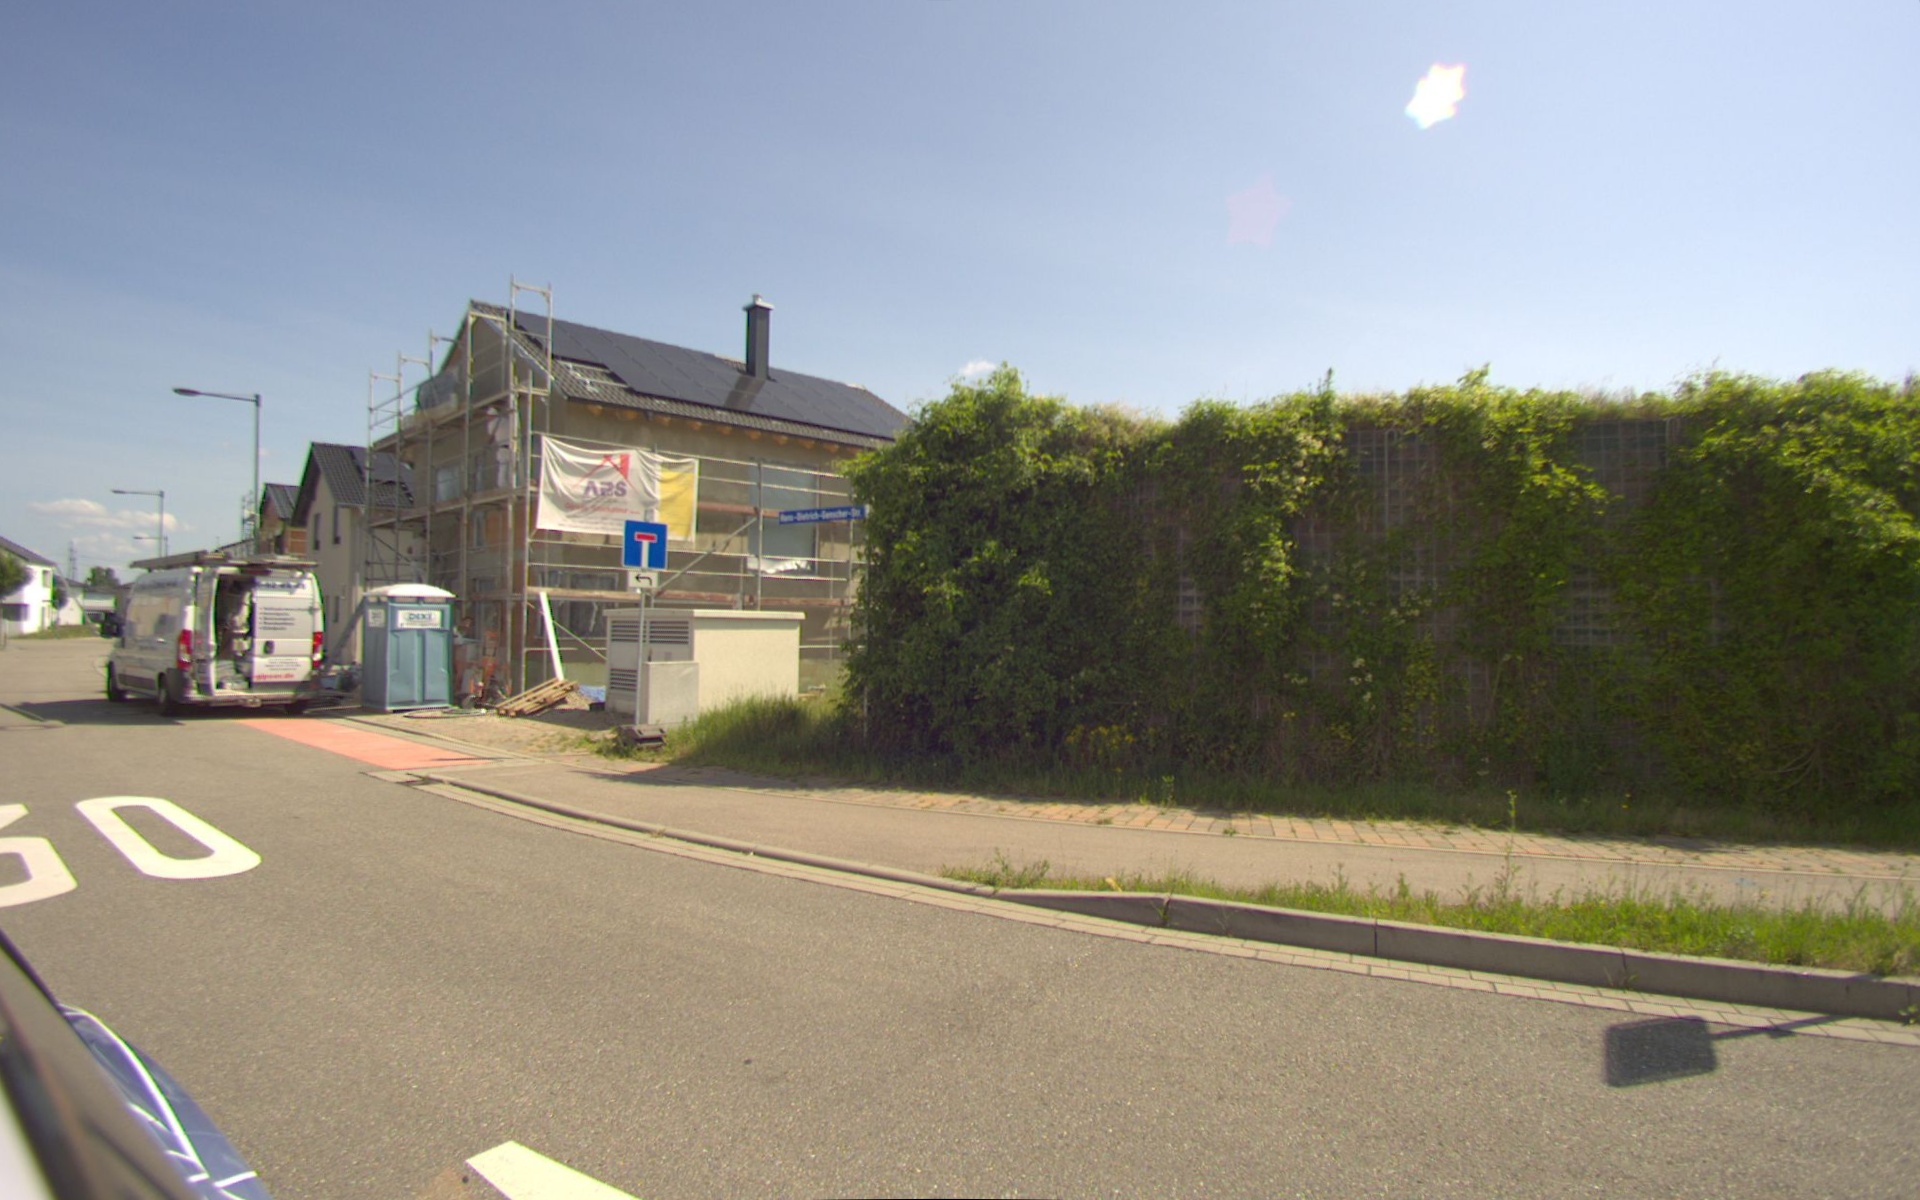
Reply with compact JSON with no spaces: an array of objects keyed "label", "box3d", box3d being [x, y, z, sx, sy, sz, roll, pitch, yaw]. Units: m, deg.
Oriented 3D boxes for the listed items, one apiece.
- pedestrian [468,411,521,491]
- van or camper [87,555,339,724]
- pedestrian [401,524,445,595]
[{"label":"pedestrian","box3d":[-9.318,-2.981,20.264,0.740,1.511,0.562,2,-1,10]},{"label":"van or camper","box3d":[-13.662,0.634,18.319,6.363,2.573,2.249,0,-2,41]},{"label":"pedestrian","box3d":[-13.104,-0.980,24.710,0.578,1.692,0.738,1,-1,42]}]
